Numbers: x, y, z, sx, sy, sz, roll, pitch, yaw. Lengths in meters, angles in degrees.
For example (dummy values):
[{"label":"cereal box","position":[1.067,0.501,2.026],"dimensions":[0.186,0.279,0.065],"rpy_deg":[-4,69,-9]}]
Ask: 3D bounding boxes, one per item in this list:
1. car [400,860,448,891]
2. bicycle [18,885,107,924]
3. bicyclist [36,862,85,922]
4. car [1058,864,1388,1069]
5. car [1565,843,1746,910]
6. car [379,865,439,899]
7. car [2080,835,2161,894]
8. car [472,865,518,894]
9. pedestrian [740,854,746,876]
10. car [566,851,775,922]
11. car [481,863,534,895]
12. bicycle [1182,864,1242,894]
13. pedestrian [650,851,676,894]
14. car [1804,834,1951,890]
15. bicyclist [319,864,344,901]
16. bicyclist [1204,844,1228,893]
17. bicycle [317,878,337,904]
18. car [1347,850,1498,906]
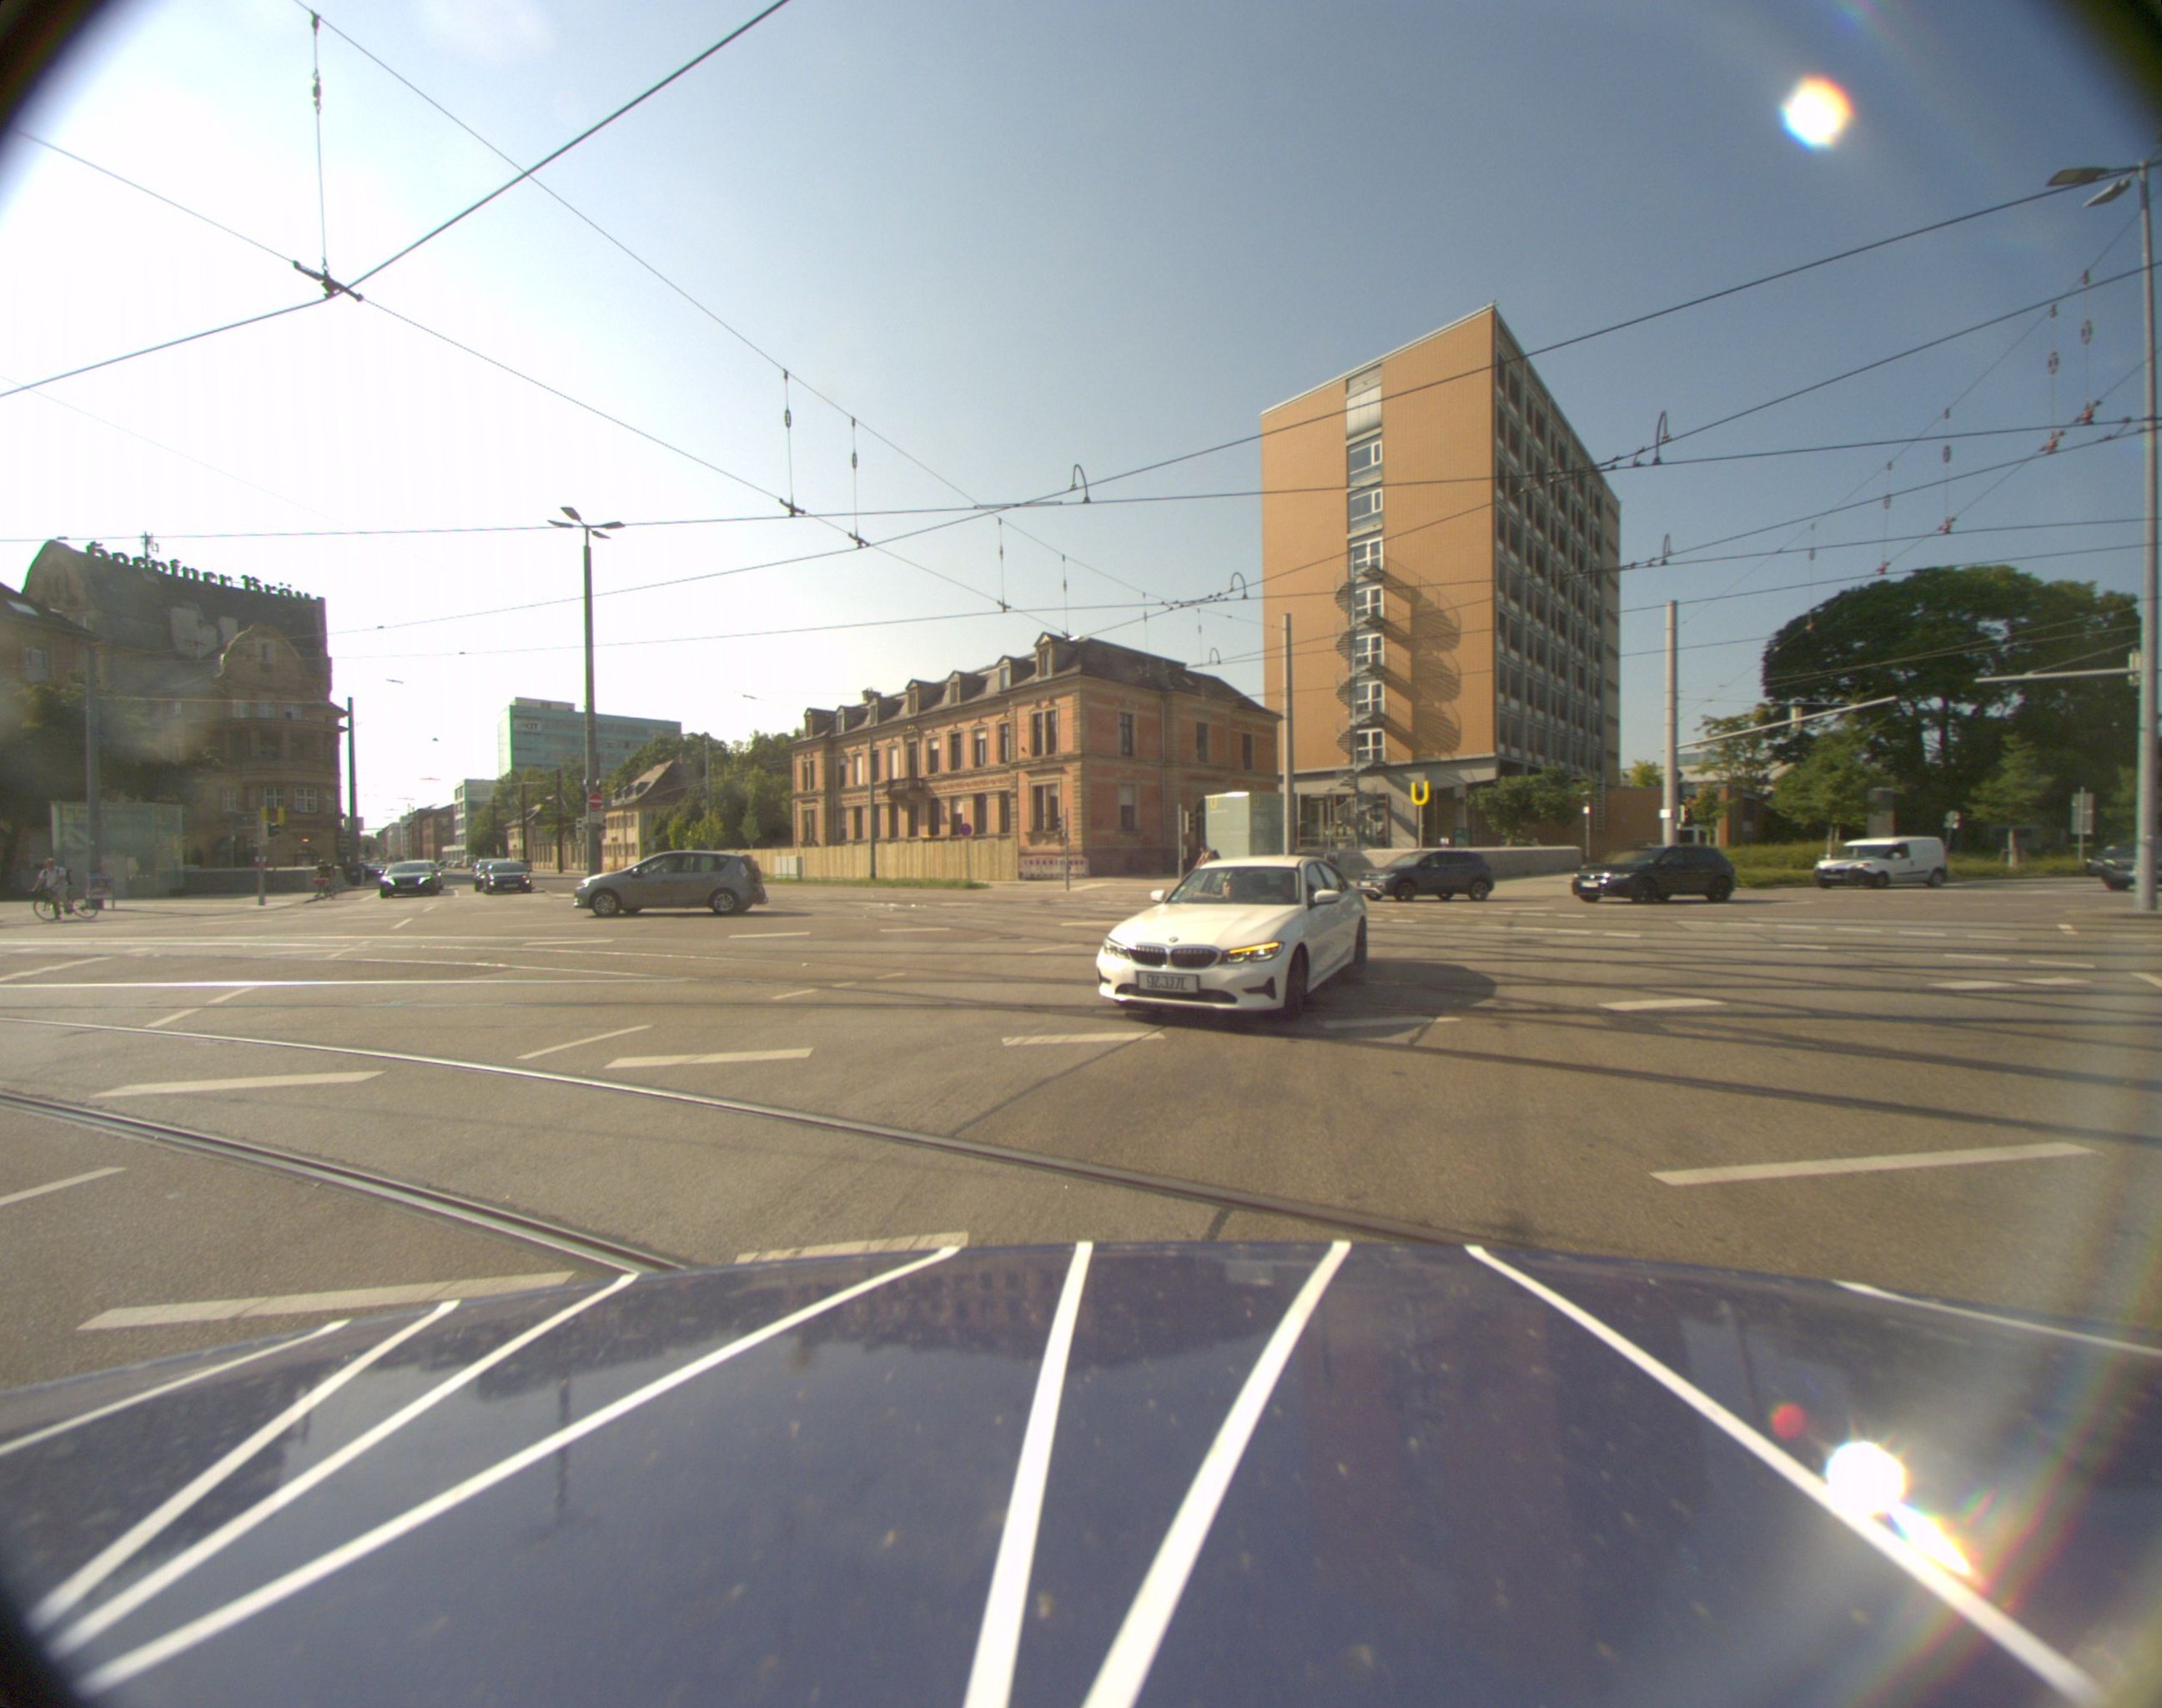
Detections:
[{"label":"car","position":[-37.199,1.173,43.100],"dimensions":[1.931,1.627,3.989],"rpy_deg":[-2,1,-40]},{"label":"bicycle","position":[-30.023,1.464,22.429],"dimensions":[0.433,1.019,1.527],"rpy_deg":[-1,1,6]},{"label":"bicyclist","position":[-30.031,1.116,22.365],"dimensions":[0.595,1.720,0.587],"rpy_deg":[-1,1,5]},{"label":"car","position":[1.876,0.906,8.284],"dimensions":[1.810,1.419,4.783],"rpy_deg":[-2,0,33]},{"label":"car","position":[16.260,0.609,21.547],"dimensions":[4.291,1.697,1.767],"rpy_deg":[-1,-1,-14]},{"label":"car","position":[-31.000,1.253,35.145],"dimensions":[1.931,1.368,3.989],"rpy_deg":[-2,1,-40]},{"label":"car","position":[32.781,0.266,22.739],"dimensions":[4.291,1.697,1.924],"rpy_deg":[-1,-1,-14]},{"label":"car","position":[-30.492,1.272,39.511],"dimensions":[1.696,1.319,3.989],"rpy_deg":[-2,1,-40]},{"label":"pedestrian","position":[-23.902,0.788,53.673],"dimensions":[0.237,1.522,0.325],"rpy_deg":[-2,2,-45]},{"label":"car","position":[-10.229,0.775,19.280],"dimensions":[4.291,1.614,1.813],"rpy_deg":[-1,0,-12]},{"label":"car","position":[-26.335,1.110,34.851],"dimensions":[1.696,1.319,3.989],"rpy_deg":[-2,1,-40]},{"label":"bicycle","position":[5.008,0.955,29.117],"dimensions":[2.186,1.089,0.529],"rpy_deg":[-1,1,-4]},{"label":"pedestrian","position":[-16.638,0.739,30.274],"dimensions":[0.794,1.677,0.660],"rpy_deg":[-2,1,-23]},{"label":"car","position":[29.045,0.287,27.749],"dimensions":[4.291,1.875,1.793],"rpy_deg":[-1,-1,-14]},{"label":"bicyclist","position":[-33.902,1.267,34.395],"dimensions":[0.664,1.627,0.916],"rpy_deg":[-2,2,-38]},{"label":"bicyclist","position":[5.158,0.546,29.112],"dimensions":[0.710,1.851,0.782],"rpy_deg":[-1,1,-4]},{"label":"bicycle","position":[-34.075,1.671,34.340],"dimensions":[0.402,1.084,1.923],"rpy_deg":[-2,1,-38]},{"label":"car","position":[10.477,0.705,23.423],"dimensions":[3.977,1.572,1.742],"rpy_deg":[-1,0,-12]}]
